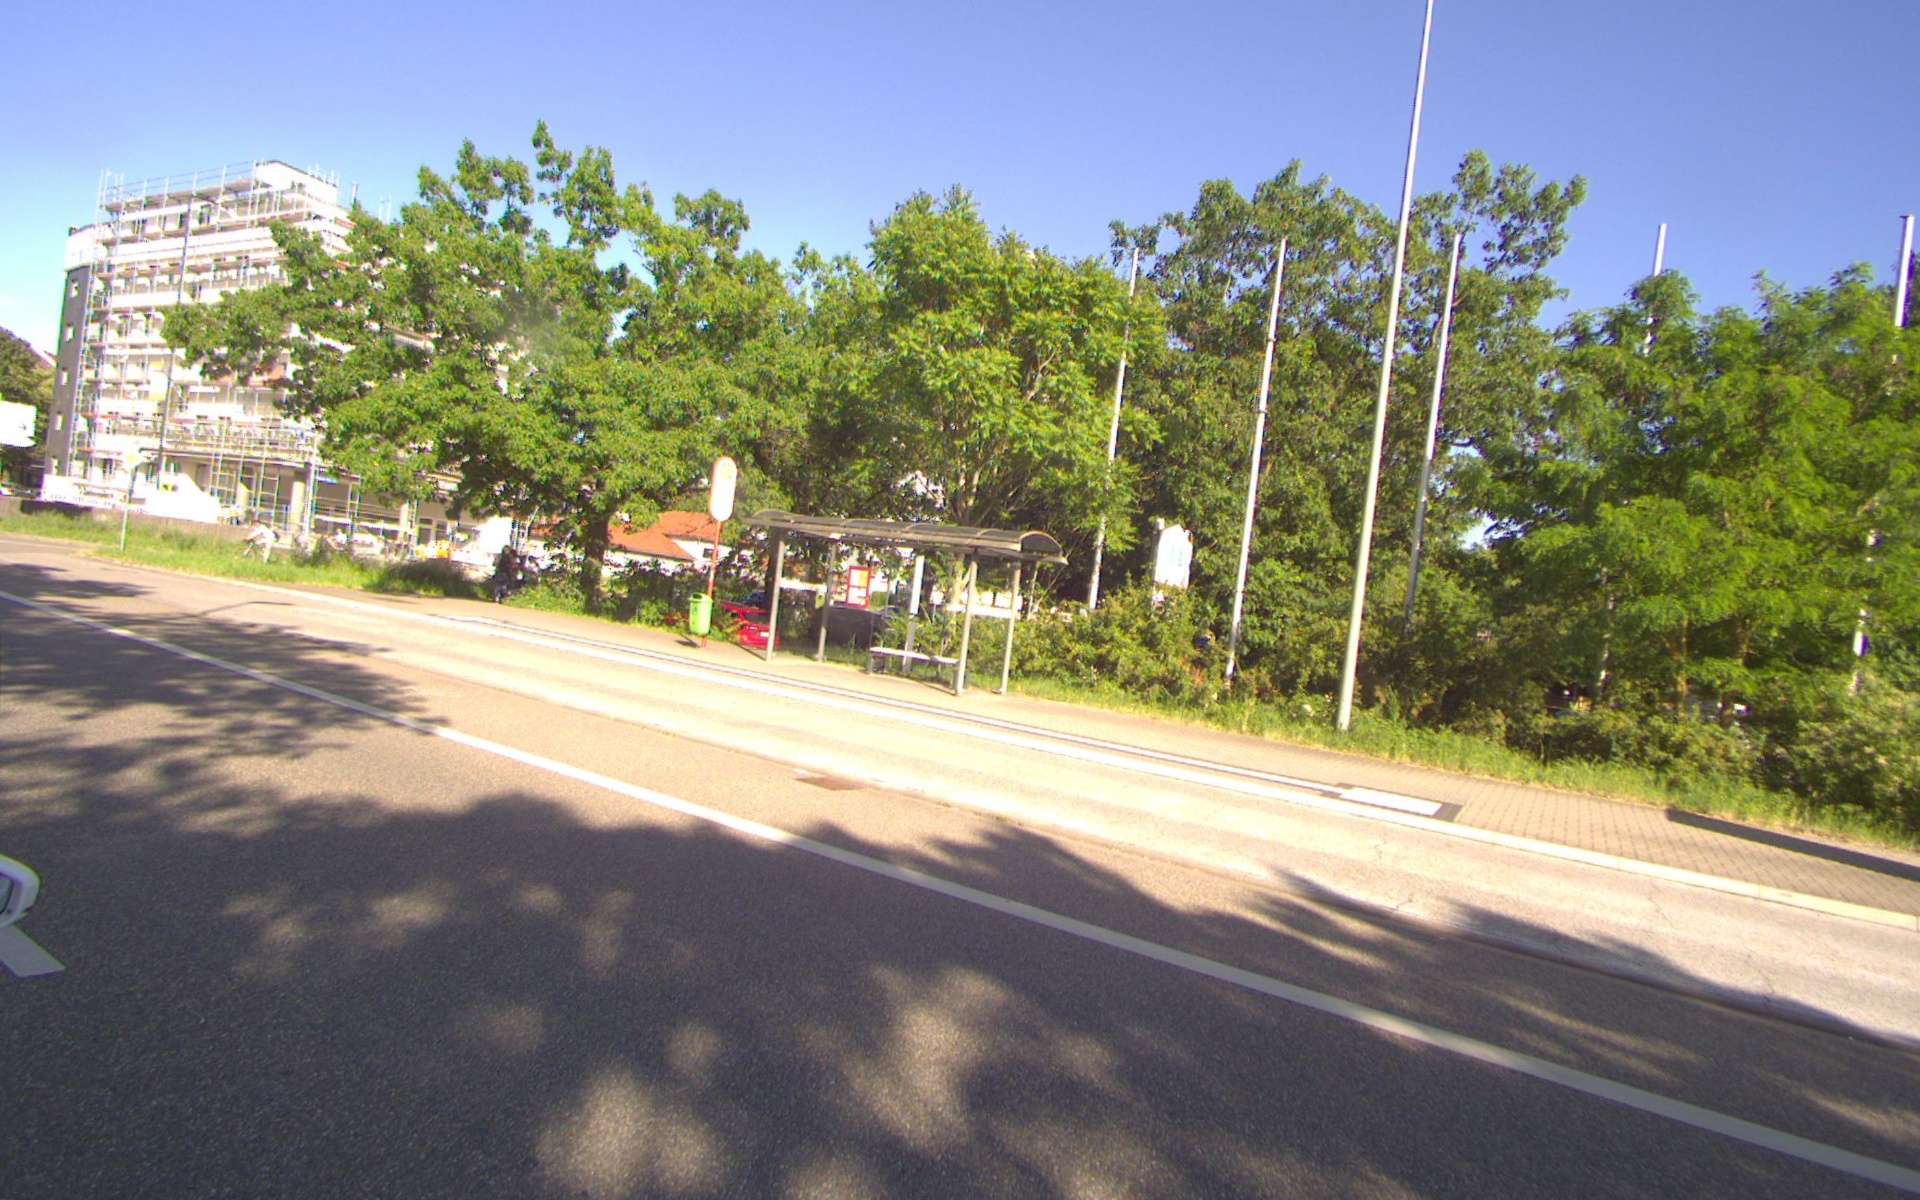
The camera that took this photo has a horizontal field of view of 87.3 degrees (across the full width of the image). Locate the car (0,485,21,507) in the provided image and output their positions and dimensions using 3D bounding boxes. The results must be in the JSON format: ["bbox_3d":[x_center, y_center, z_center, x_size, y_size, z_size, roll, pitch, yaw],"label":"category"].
[{"bbox_3d":[-66.548,-7.270,69.990,1.521,1.330,3.250,7,0,-40],"label":"car"}]

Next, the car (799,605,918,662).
[{"bbox_3d":[-3.585,1.197,35.978,3.674,1.504,1.914,7,0,13],"label":"car"}]

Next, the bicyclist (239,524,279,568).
[{"bbox_3d":[-25.811,-1.998,37.061,0.731,1.454,0.844,6,-1,32],"label":"bicyclist"}]

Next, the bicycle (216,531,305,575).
[{"bbox_3d":[-25.799,-1.724,37.142,0.699,1.212,2.516,6,-2,32],"label":"bicycle"}]

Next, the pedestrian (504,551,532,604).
[{"bbox_3d":[-12.753,-0.657,28.997,0.517,1.465,0.587,7,1,-32],"label":"pedestrian"}]

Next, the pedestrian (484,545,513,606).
[{"bbox_3d":[-13.011,-0.703,28.364,0.517,1.632,0.587,7,1,-32],"label":"pedestrian"}]

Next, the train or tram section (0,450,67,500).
[{"bbox_3d":[-88.277,-11.780,92.165,3.265,3.816,20.684,7,0,-24],"label":"train or tram section"}]

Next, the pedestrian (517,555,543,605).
[{"bbox_3d":[-13.398,-0.633,31.326,0.517,1.465,0.587,7,1,-32],"label":"pedestrian"}]

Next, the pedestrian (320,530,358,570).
[{"bbox_3d":[-28.271,-2.272,45.809,0.969,1.674,0.891,7,0,2],"label":"pedestrian"}]

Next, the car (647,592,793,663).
[{"bbox_3d":[-6.870,0.794,28.744,3.680,1.504,1.755,7,0,28],"label":"car"}]
